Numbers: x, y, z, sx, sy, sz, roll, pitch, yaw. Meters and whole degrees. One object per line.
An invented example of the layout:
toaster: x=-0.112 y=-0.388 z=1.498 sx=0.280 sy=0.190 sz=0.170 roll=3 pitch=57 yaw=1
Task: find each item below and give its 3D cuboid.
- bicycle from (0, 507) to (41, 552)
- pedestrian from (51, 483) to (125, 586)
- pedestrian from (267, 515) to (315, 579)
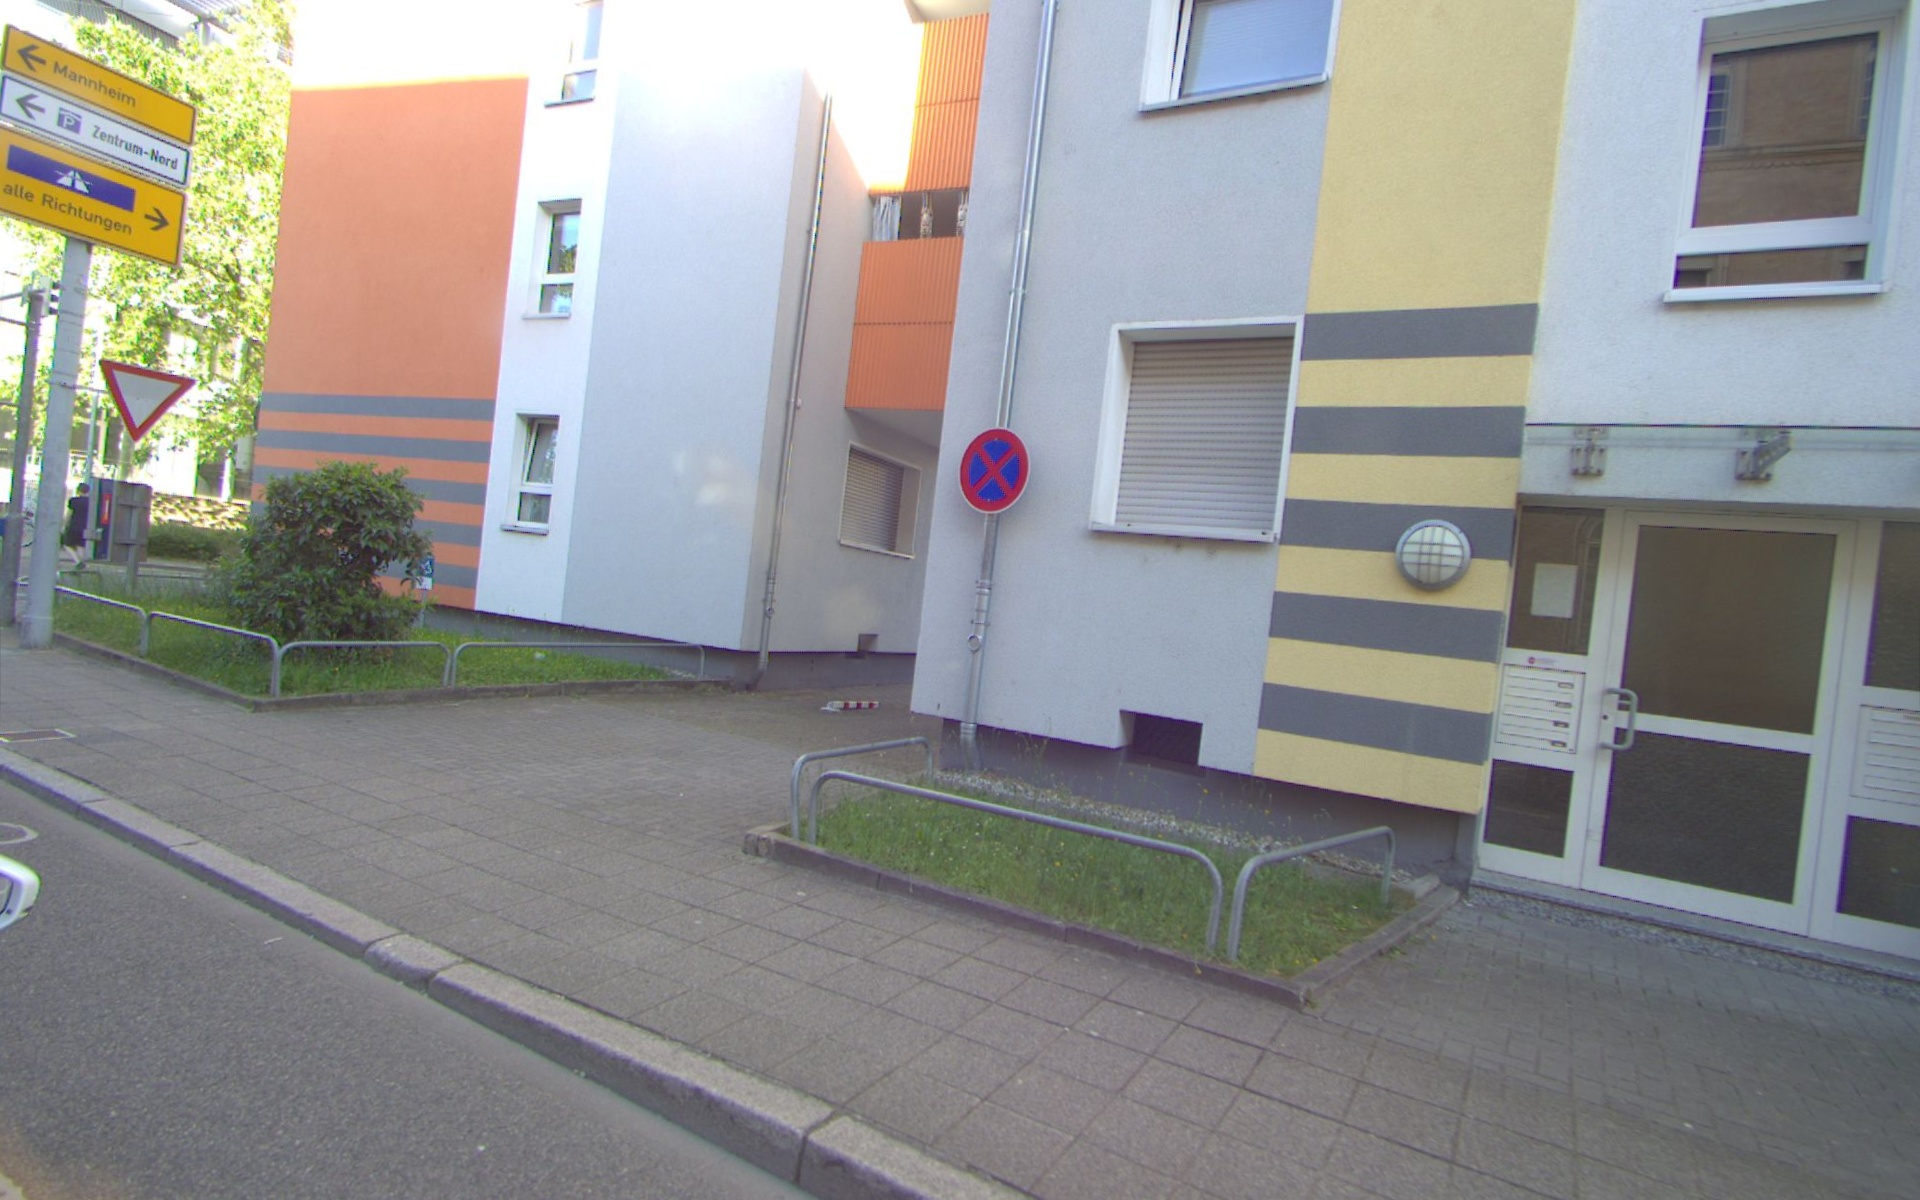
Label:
bicycle: x=-26.025 y=-1.960 z=27.235 sx=1.658 sy=1.063 sz=0.508 roll=9 pitch=2 yaw=-3
pedestrian: x=-17.140 y=-1.284 z=19.771 sx=0.823 sy=1.861 sz=0.708 roll=7 pitch=-1 yaw=32
pedestrian: x=-21.281 y=-1.673 z=32.022 sx=0.696 sy=1.861 sz=0.837 roll=7 pitch=-1 yaw=22
